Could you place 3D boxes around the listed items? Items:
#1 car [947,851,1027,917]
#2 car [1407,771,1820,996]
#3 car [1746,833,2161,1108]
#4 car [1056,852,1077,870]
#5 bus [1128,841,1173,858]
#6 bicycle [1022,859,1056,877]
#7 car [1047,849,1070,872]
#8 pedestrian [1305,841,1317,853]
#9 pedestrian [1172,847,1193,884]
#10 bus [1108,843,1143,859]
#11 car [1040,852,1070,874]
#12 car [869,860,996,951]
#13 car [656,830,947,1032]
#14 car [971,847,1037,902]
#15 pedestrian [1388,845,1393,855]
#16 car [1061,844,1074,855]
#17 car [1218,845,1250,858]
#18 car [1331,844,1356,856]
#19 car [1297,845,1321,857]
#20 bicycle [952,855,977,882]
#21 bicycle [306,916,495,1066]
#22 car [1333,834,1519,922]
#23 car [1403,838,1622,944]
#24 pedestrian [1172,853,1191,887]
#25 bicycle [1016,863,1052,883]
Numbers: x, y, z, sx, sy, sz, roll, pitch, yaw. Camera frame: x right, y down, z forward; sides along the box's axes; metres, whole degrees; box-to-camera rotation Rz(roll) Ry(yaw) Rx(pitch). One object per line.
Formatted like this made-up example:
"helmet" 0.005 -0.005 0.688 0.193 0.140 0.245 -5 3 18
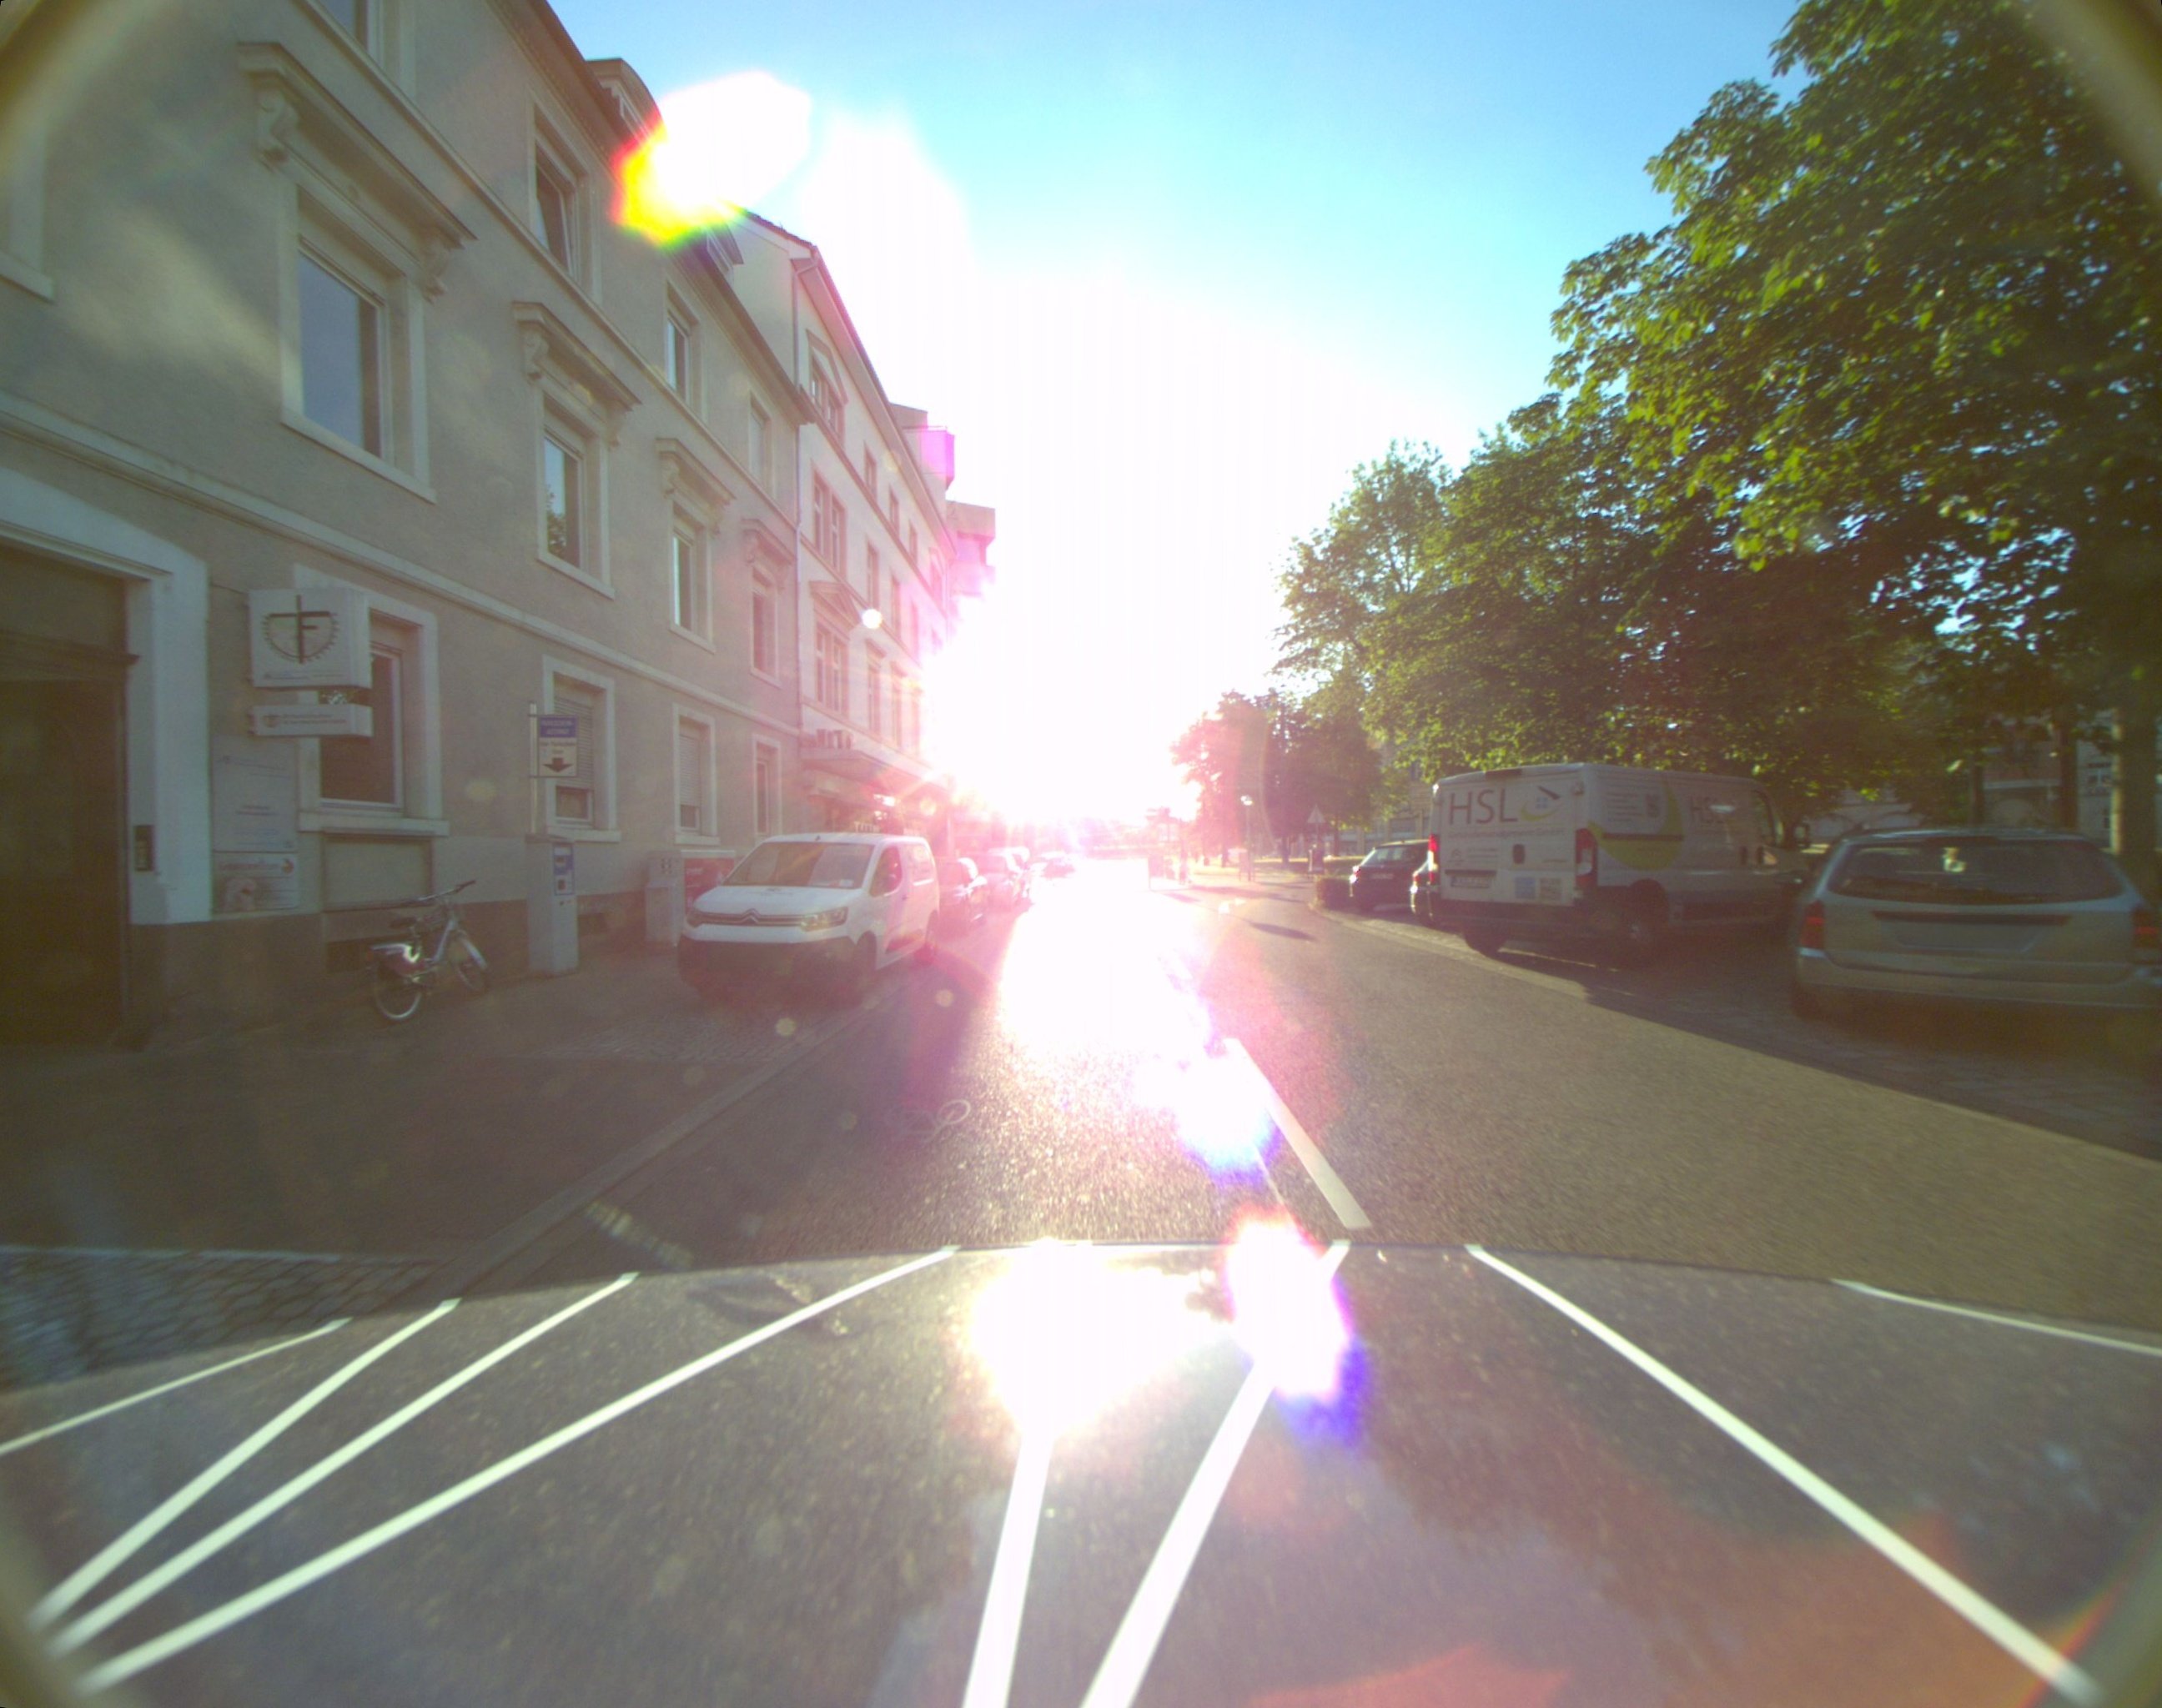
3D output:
"car" -2.585 0.781 21.713 1.661 1.655 4.108 -2 0 1
"car" 6.677 0.219 9.522 4.619 2.238 2.198 -3 1 -25
"car" 6.927 0.629 6.037 4.007 1.459 1.878 -2 0 -40
"car" -1.318 0.661 69.228 1.645 1.519 4.000 -2 0 2
"bus" 15.004 -0.886 166.212 3.765 3.342 13.689 -2 0 -23
"bicycle" -2.368 0.790 42.997 1.790 0.984 0.542 2 -1 10
"car" -1.837 0.502 63.902 1.788 1.794 4.401 -2 0 0
"pedestrian" 40.373 -1.270 133.456 1.060 2.082 1.631 -2 0 -21
"pedestrian" 4.338 0.490 32.399 0.693 1.550 0.700 -2 0 19
"bus" 10.365 -0.718 177.426 3.765 3.311 10.717 -2 0 -23
"car" -1.855 0.661 55.349 1.794 1.499 3.921 -2 0 2
"car" -2.850 0.922 15.413 1.671 1.535 3.883 -2 0 1
"car" -2.984 0.722 9.204 1.714 1.824 4.306 -2 0 2
"car" -2.676 0.676 27.329 1.797 1.781 4.092 -1 0 2
"pedestrian" 51.217 -0.713 125.761 0.531 1.683 0.617 -2 0 -15
"car" -1.847 -0.606 105.704 1.654 1.525 4.066 -2 0 0
"car" 36.065 -0.576 179.147 7.209 2.861 2.305 -1 0 -21
"car" 44.941 -0.649 130.153 1.858 2.002 3.902 -2 0 -29
"car" 41.280 -0.521 137.649 1.914 2.002 3.991 -2 0 -29
"bicycle" -5.857 0.700 38.204 0.416 1.270 1.659 -2 4 -41
"bicycle" -6.045 1.155 6.871 0.456 1.006 1.710 -2 1 -13
"car" 7.429 0.441 16.279 3.890 1.573 1.798 -3 1 -33
"car" 7.438 0.532 12.961 4.007 1.478 1.828 -2 0 -38
"pedestrian" 4.162 0.664 31.499 0.613 1.356 0.565 -2 0 20
"bicycle" -2.408 0.955 38.817 1.789 0.984 0.543 1 -1 24
